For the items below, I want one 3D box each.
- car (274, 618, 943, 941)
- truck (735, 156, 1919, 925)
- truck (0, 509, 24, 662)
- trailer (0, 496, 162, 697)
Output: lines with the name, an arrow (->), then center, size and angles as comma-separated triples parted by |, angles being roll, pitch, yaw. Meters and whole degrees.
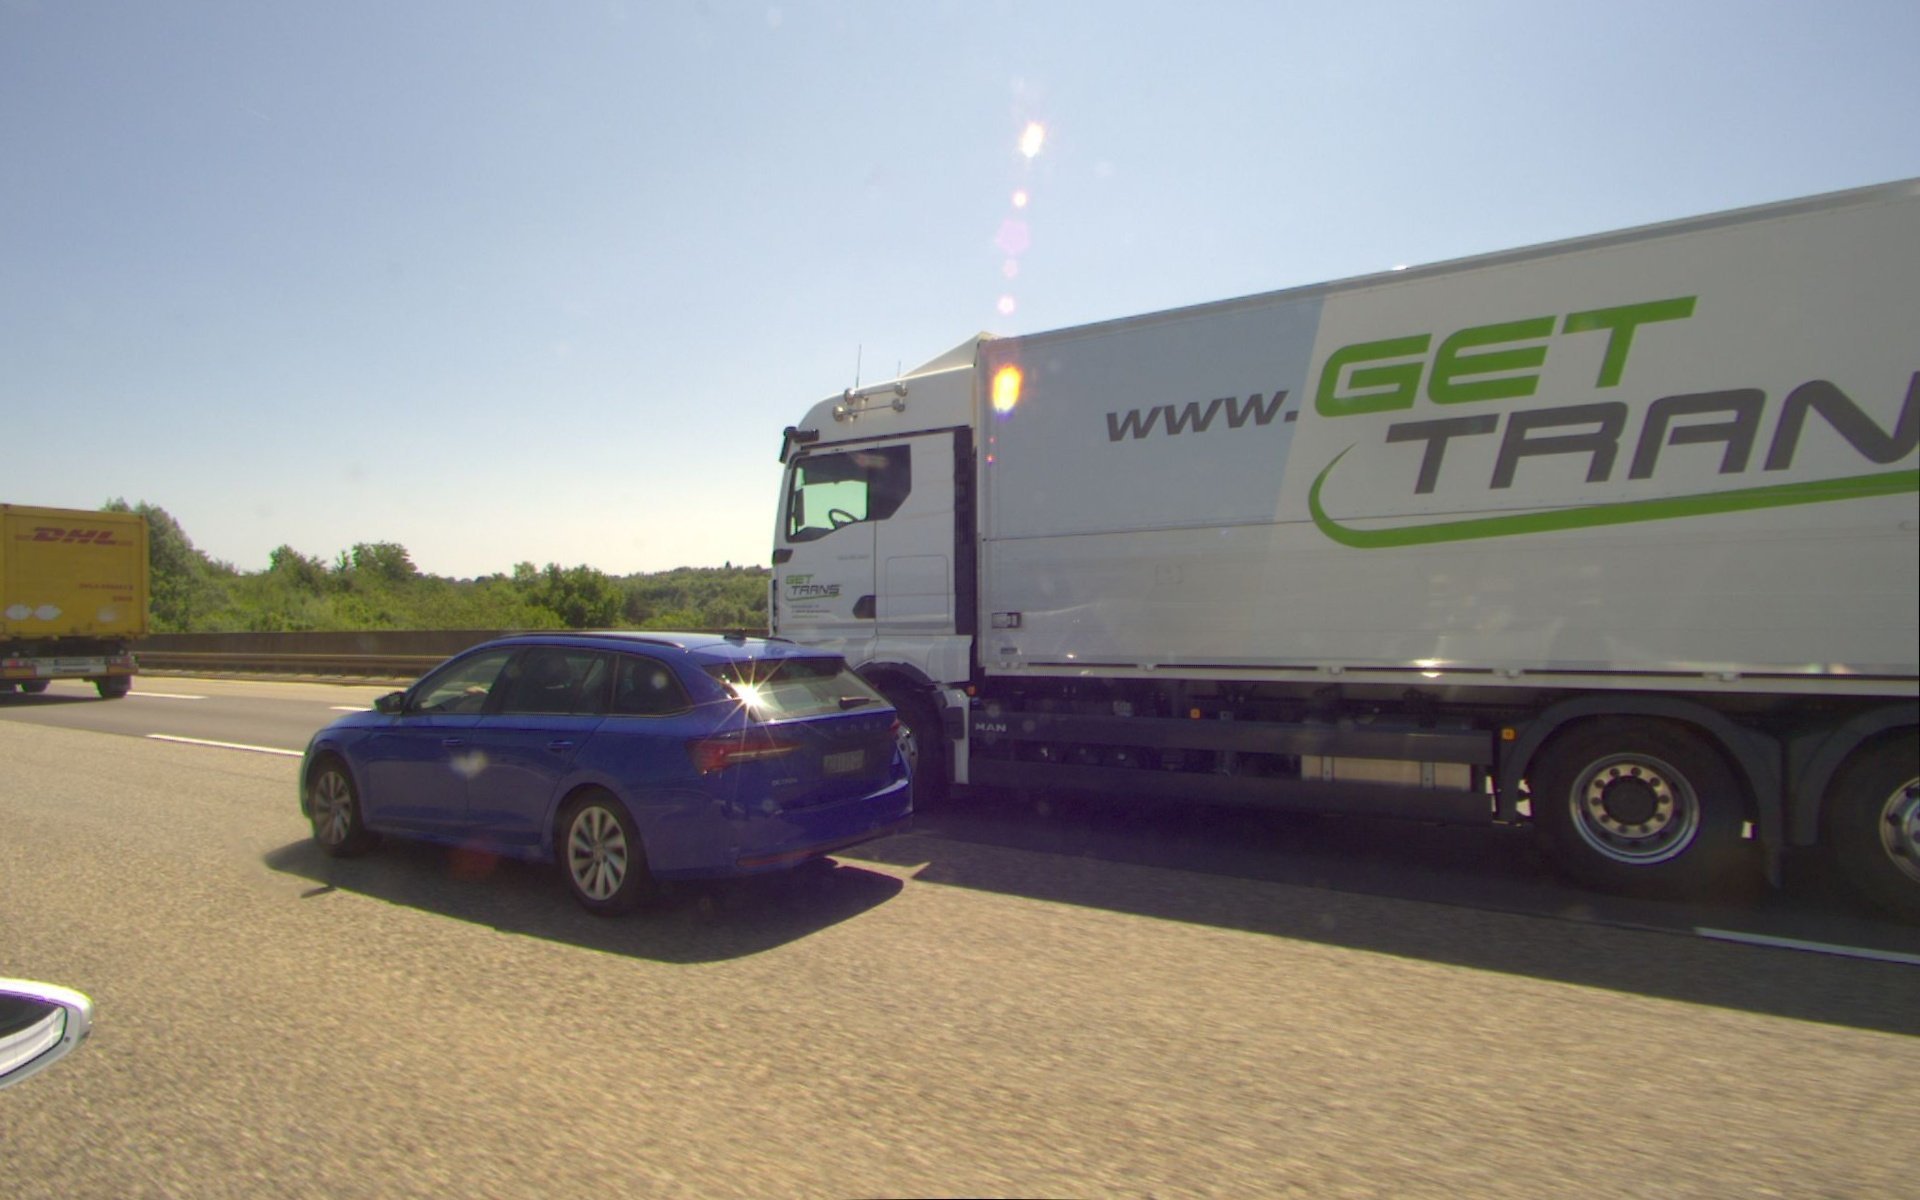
car -> -2.421, 0.864, 6.451 | 4.436, 1.459, 1.707 | -1, -1, 32
truck -> 3.275, -0.191, 7.207 | 10.613, 3.648, 2.847 | -2, -2, 32
truck -> -30.547, -0.280, 28.816 | 10.188, 4.106, 2.718 | -2, -2, 32
trailer -> -22.476, 0.070, 23.783 | 8.802, 4.074, 2.697 | -2, -2, 32
